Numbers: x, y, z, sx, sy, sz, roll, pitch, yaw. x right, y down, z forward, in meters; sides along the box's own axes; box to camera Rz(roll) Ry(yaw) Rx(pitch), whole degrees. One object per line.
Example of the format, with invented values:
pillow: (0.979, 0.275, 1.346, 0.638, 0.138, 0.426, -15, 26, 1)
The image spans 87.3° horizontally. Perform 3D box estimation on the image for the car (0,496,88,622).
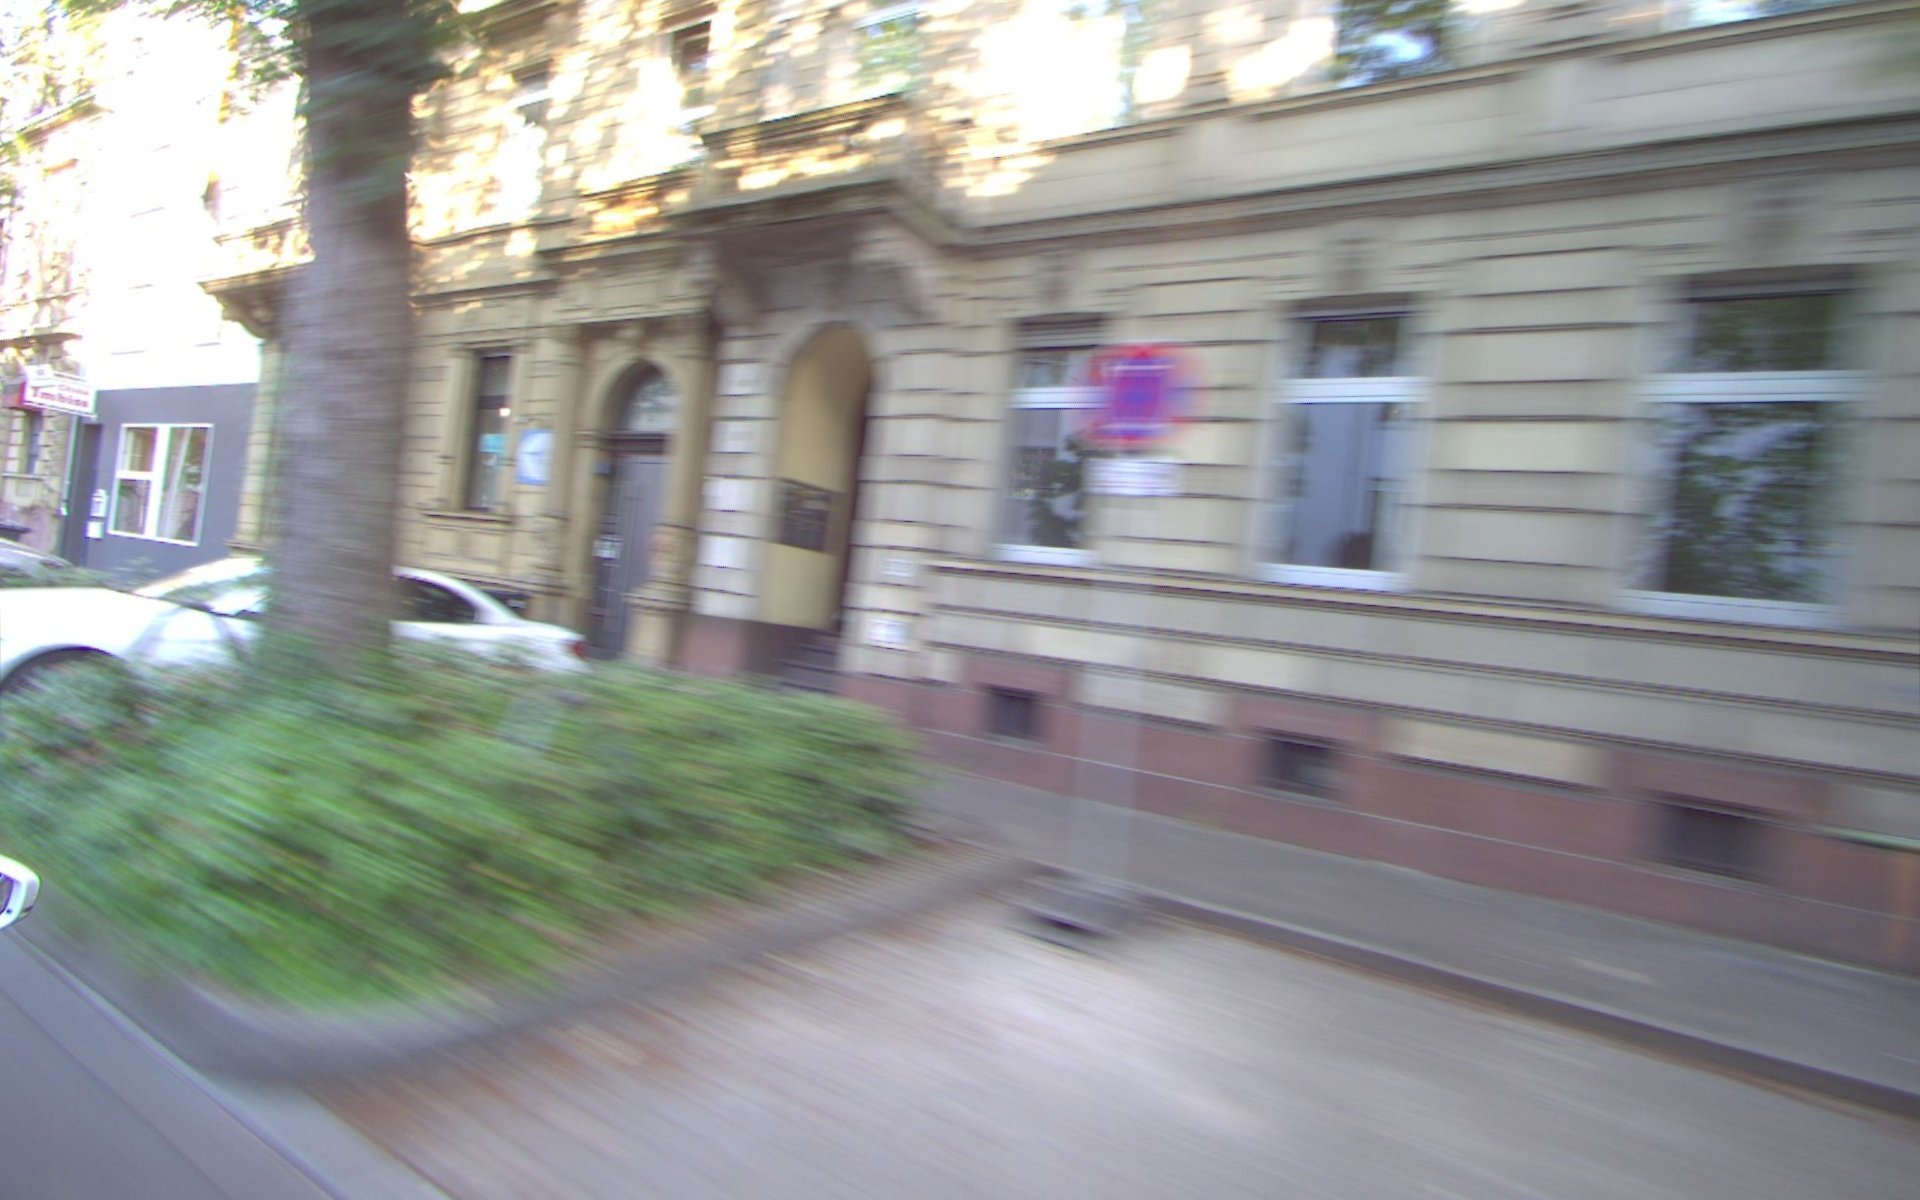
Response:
car: (-14.002, -0.751, 12.611, 1.940, 1.579, 4.227, 7, -1, 35)

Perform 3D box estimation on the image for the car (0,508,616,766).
car: (-5.214, 0.295, 7.700, 1.894, 1.454, 4.589, 6, -2, 34)

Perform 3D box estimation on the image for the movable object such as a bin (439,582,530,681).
movable object such as a bin: (-5.577, 0.378, 11.805, 0.605, 1.077, 0.658, 6, 0, 32)

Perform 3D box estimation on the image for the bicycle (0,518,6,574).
bicycle: (-22.122, -1.282, 22.731, 1.698, 1.225, 0.385, 6, 0, 34)
